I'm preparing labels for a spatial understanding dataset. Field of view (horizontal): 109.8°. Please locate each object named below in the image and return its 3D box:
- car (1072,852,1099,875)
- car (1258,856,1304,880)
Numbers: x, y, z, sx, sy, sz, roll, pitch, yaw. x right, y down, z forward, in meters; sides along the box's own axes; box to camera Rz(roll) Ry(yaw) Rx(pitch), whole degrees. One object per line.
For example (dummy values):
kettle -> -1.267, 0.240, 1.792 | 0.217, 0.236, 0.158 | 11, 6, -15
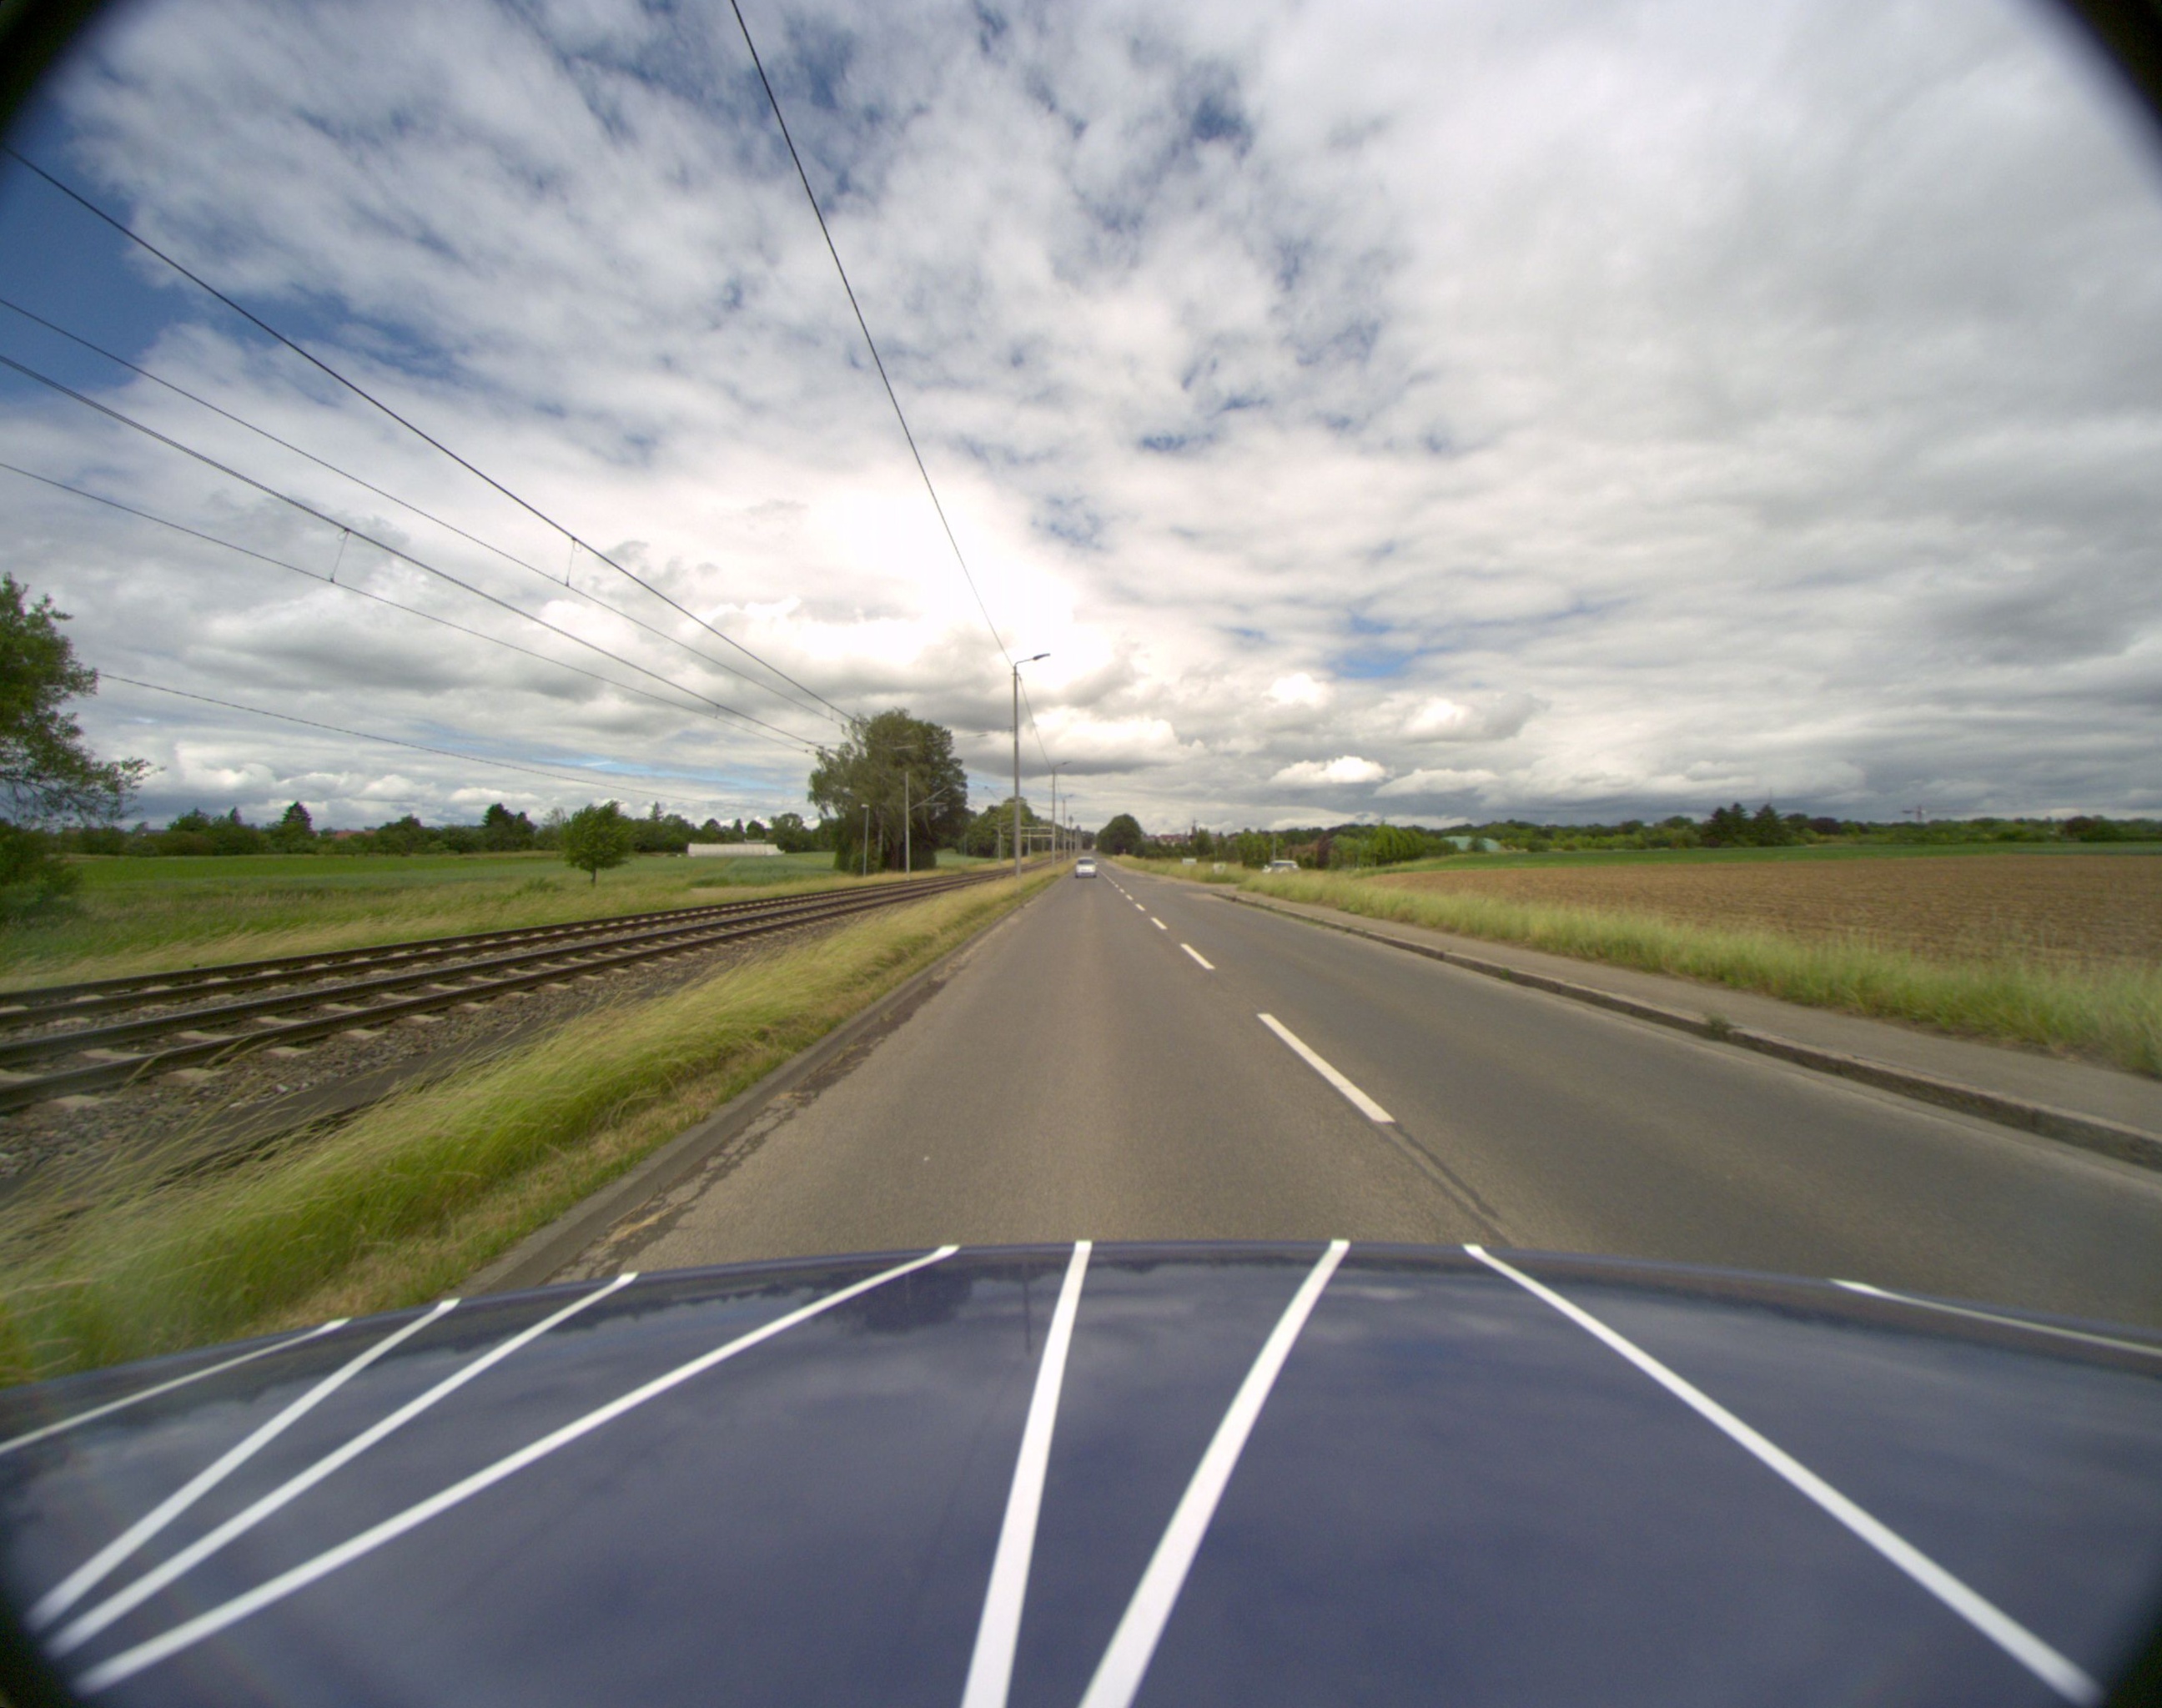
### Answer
car -> 0.344, 0.749, 60.937 | 1.999, 1.679, 3.999 | -2, 0, -1
car -> 12.796, 0.882, 48.443 | 1.970, 1.445, 4.008 | -1, -1, 28
